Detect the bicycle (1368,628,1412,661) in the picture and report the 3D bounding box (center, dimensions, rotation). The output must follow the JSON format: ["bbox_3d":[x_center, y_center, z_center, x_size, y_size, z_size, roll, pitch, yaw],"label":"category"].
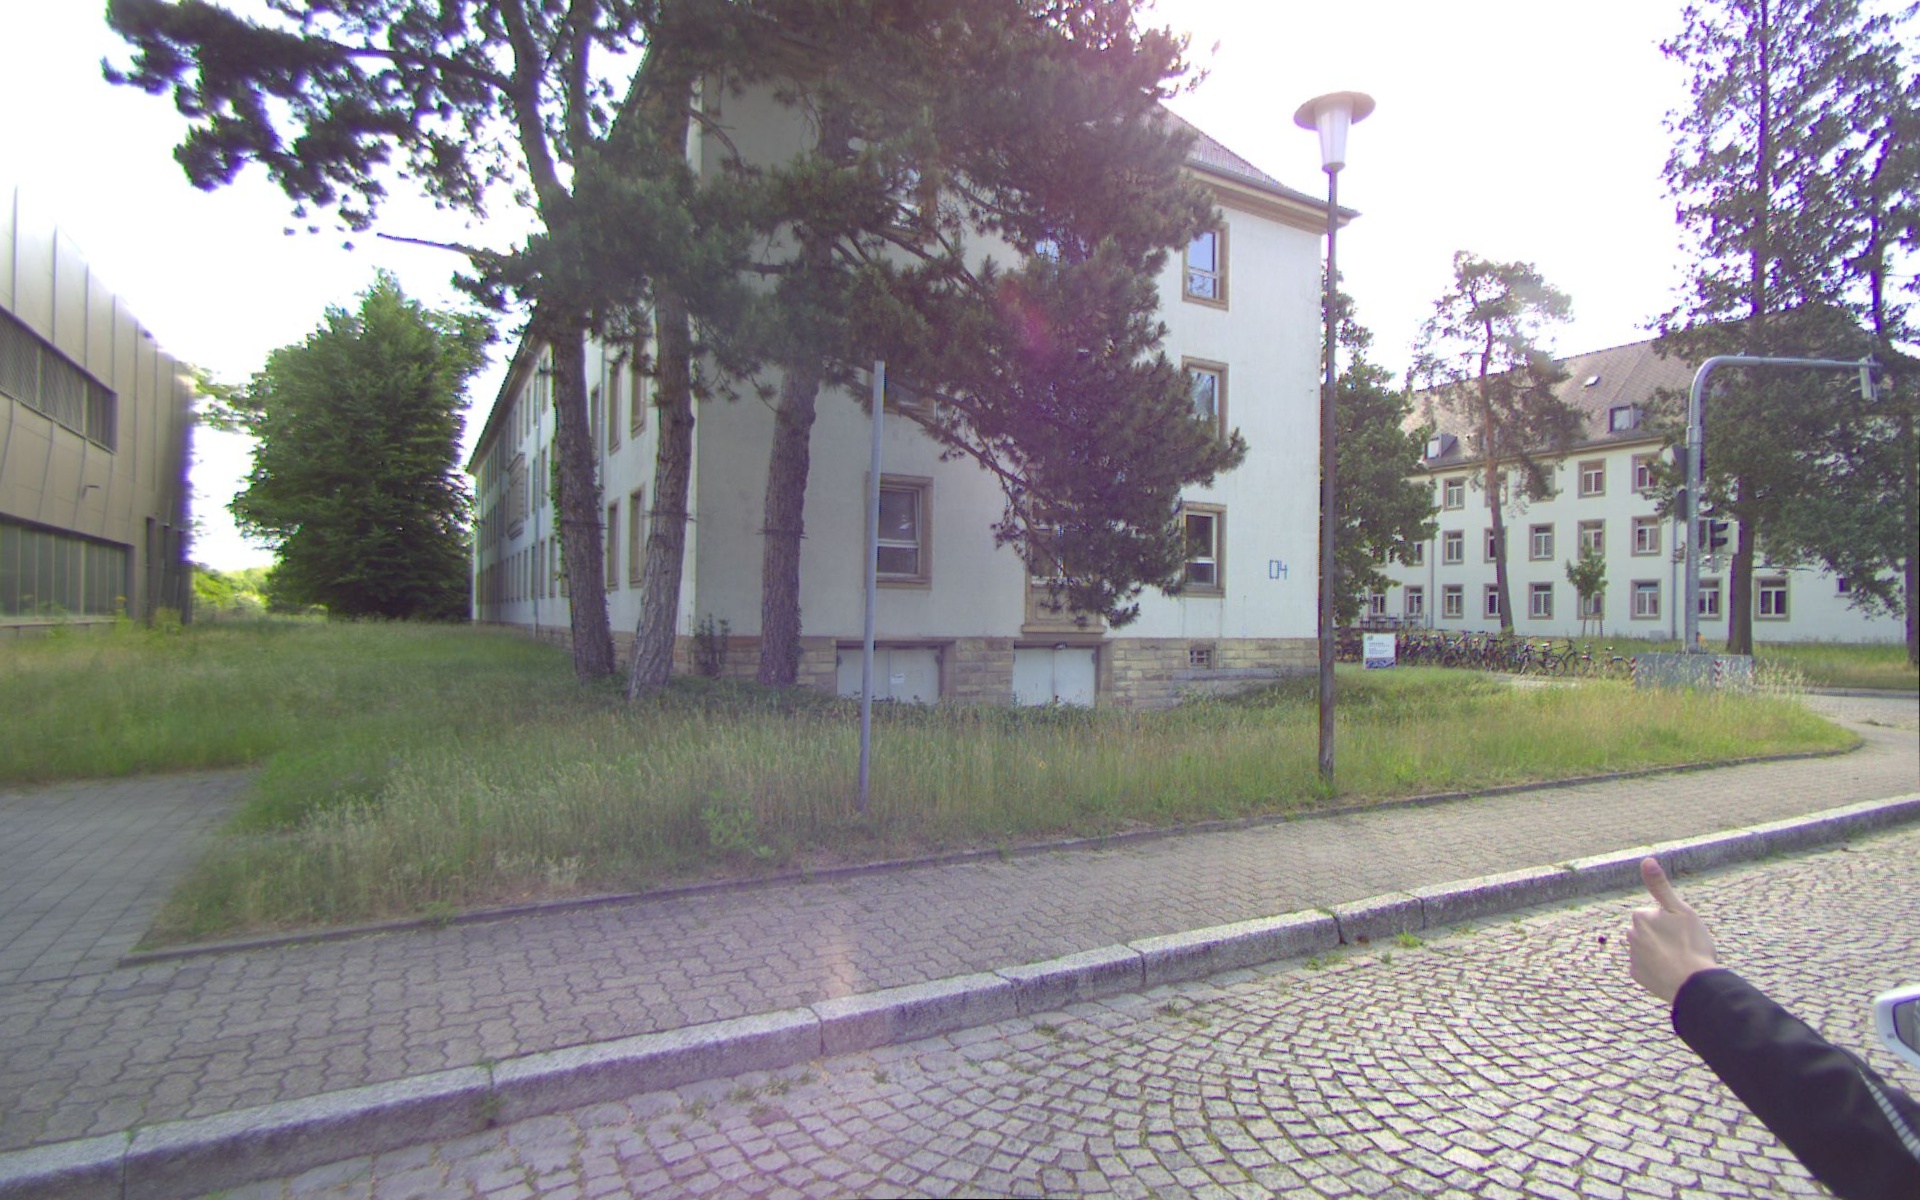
[{"bbox_3d":[16.357,1.698,38.223,1.914,1.237,0.511,1,-1,-31],"label":"bicycle"}]

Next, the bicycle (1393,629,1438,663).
[{"bbox_3d":[16.878,1.708,37.210,1.914,1.237,0.511,1,-1,-31],"label":"bicycle"}]

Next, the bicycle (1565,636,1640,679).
[{"bbox_3d":[19.288,1.711,30.188,0.627,1.237,1.853,1,-1,-29],"label":"bicycle"}]

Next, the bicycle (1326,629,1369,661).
[{"bbox_3d":[15.401,1.772,39.921,1.914,1.237,0.511,1,-1,-31],"label":"bicycle"}]

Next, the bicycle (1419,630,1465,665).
[{"bbox_3d":[17.424,1.722,36.279,1.954,1.237,0.511,1,-1,-31],"label":"bicycle"}]

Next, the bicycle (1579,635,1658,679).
[{"bbox_3d":[19.946,1.706,30.458,0.627,1.237,1.936,1,-1,-29],"label":"bicycle"}]

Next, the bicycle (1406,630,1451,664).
[{"bbox_3d":[17.140,1.714,36.721,1.931,1.237,0.511,1,-1,-31],"label":"bicycle"}]

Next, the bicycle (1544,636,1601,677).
[{"bbox_3d":[19.320,1.760,31.667,2.089,1.237,0.630,1,-1,-31],"label":"bicycle"}]

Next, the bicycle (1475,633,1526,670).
[{"bbox_3d":[18.443,1.748,34.271,2.005,1.237,0.576,1,-1,-31],"label":"bicycle"}]

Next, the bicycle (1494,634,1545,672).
[{"bbox_3d":[18.697,1.750,33.553,1.966,1.237,0.569,1,-1,-31],"label":"bicycle"}]

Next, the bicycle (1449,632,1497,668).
[{"bbox_3d":[18.038,1.739,35.291,1.992,1.237,0.511,1,-1,-31],"label":"bicycle"}]

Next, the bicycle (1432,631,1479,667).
[{"bbox_3d":[17.682,1.731,35.831,1.954,1.237,0.511,1,-1,-31],"label":"bicycle"}]

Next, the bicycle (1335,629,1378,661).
[{"bbox_3d":[15.614,1.776,39.528,1.914,1.237,0.511,1,-1,-31],"label":"bicycle"}]

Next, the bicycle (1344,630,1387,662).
[{"bbox_3d":[15.824,1.780,39.153,1.914,1.237,0.511,1,-1,-31],"label":"bicycle"}]

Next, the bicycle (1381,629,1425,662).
[{"bbox_3d":[16.630,1.704,37.697,1.914,1.237,0.511,1,-1,-31],"label":"bicycle"}]

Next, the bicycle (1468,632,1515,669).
[{"bbox_3d":[18.522,1.749,34.982,1.877,1.237,0.545,1,-1,-31],"label":"bicycle"}]

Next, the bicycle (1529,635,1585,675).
[{"bbox_3d":[19.076,1.756,32.084,2.099,1.237,0.630,1,-1,-31],"label":"bicycle"}]

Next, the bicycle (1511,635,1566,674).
[{"bbox_3d":[18.787,1.750,32.614,2.080,1.237,0.630,1,-1,-31],"label":"bicycle"}]
